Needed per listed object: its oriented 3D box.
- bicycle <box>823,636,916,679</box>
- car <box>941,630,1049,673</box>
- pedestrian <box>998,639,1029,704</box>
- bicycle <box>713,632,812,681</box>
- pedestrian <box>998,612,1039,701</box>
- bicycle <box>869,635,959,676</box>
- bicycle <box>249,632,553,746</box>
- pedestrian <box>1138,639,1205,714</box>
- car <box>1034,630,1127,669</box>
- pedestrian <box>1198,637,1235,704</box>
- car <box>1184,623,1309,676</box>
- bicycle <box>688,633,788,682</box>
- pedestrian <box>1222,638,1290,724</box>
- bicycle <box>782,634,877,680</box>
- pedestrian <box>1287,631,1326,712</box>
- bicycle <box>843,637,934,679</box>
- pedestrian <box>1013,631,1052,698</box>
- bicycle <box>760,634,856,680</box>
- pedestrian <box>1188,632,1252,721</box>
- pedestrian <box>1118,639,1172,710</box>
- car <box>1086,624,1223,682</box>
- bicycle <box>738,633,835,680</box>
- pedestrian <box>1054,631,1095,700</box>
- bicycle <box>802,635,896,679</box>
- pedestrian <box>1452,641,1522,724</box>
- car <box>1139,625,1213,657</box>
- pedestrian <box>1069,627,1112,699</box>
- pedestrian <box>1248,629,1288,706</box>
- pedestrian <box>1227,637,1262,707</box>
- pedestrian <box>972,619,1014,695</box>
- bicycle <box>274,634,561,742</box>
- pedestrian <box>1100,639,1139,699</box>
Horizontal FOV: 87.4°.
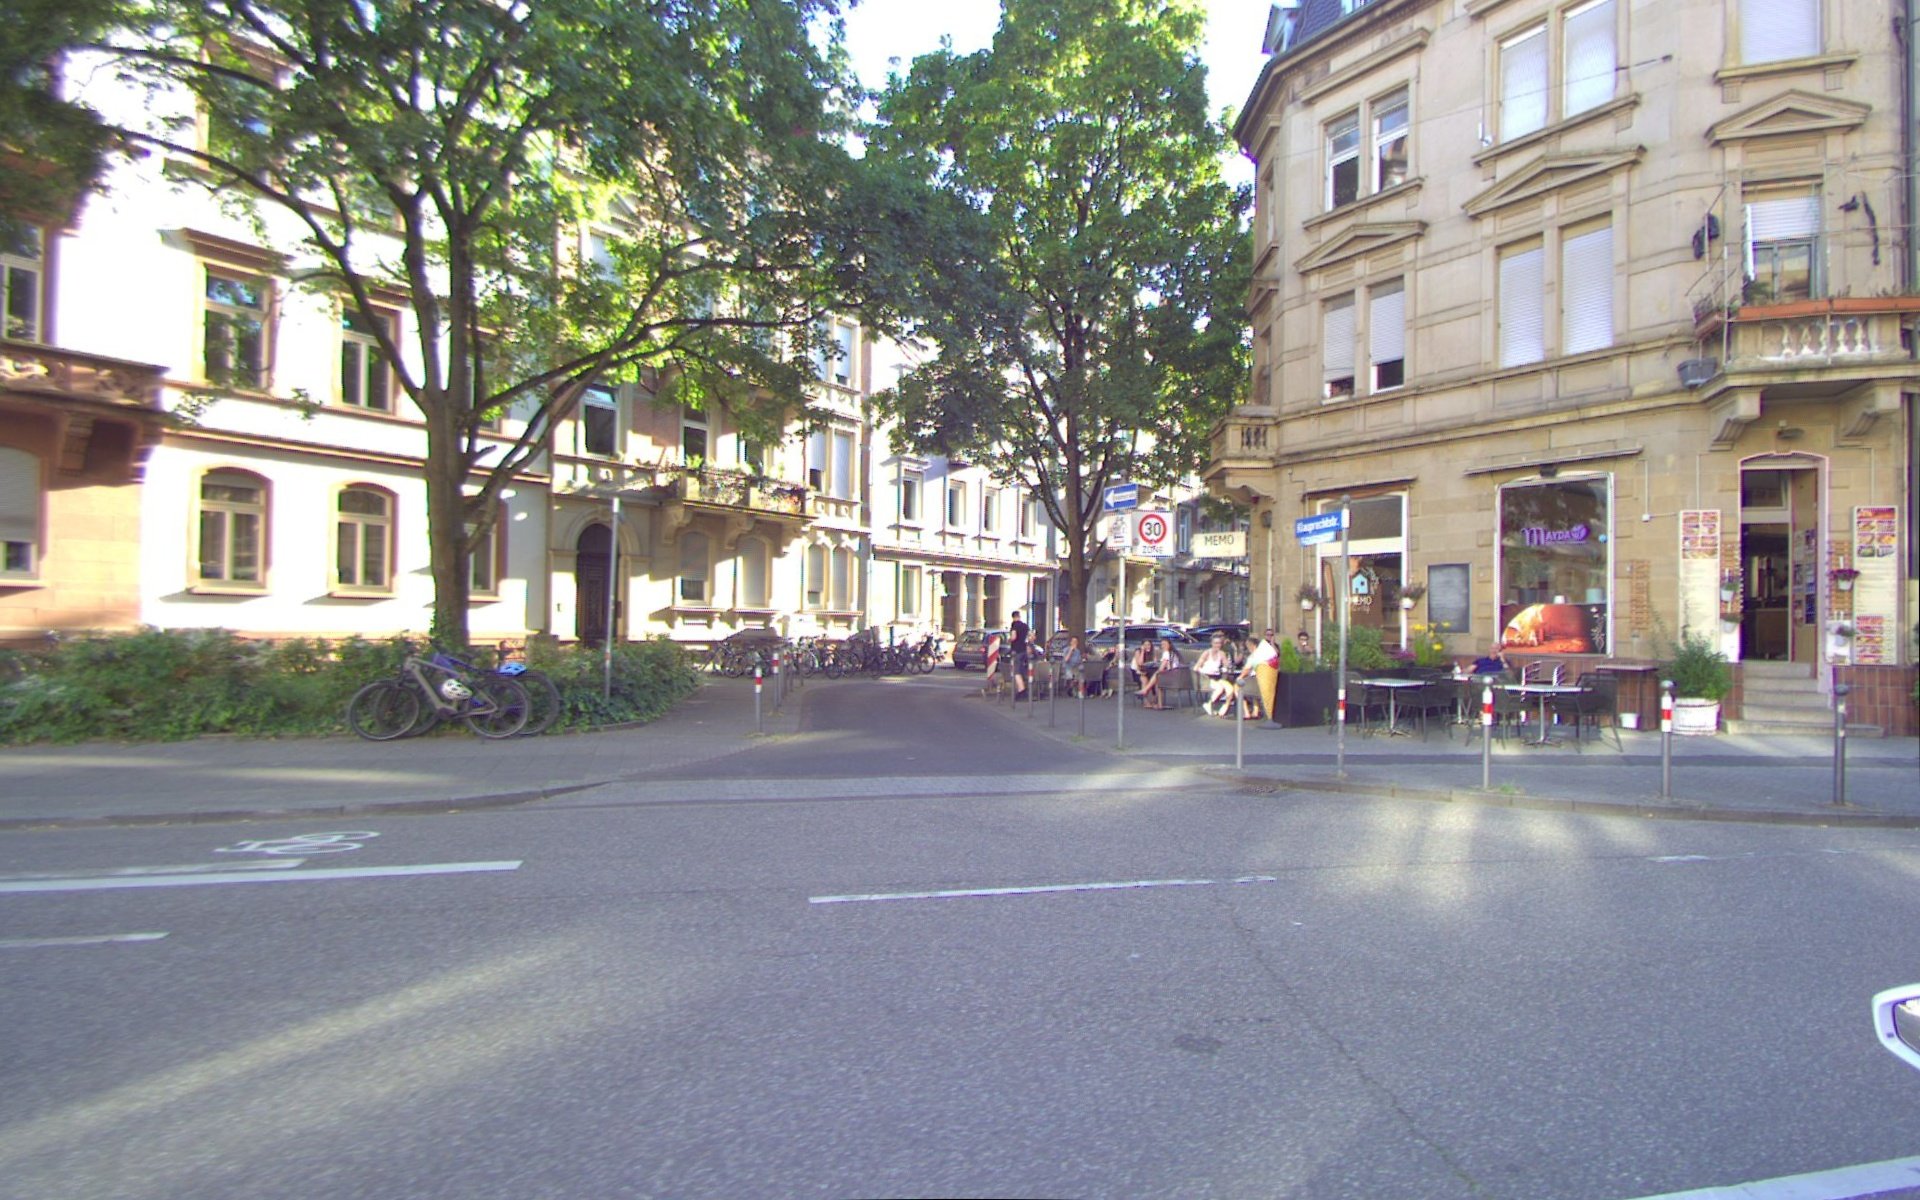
[{"bbox_3d":[-2.707,1.683,29.831,3.088,1.196,0.749,-1,-2,39],"label":"bicycle"},{"bbox_3d":[1.244,1.752,34.734,1.900,1.394,3.736,-1,-2,38],"label":"car"},{"bbox_3d":[1.119,1.490,21.114,0.561,1.338,0.504,0,-1,-7],"label":"pedestrian"},{"bbox_3d":[-5.276,1.468,26.628,3.088,1.196,0.749,-1,-2,39],"label":"bicycle"},{"bbox_3d":[1.195,1.149,20.481,0.752,1.793,0.572,0,-2,-5],"label":"pedestrian"},{"bbox_3d":[-1.460,1.704,31.371,3.088,1.196,0.749,-1,-2,39],"label":"bicycle"},{"bbox_3d":[-6.166,0.974,11.255,2.908,1.212,0.546,1,-1,-13],"label":"bicycle"},{"bbox_3d":[3.733,1.328,17.756,0.738,1.265,1.020,0,-1,-20],"label":"pedestrian"},{"bbox_3d":[4.674,1.872,38.676,1.900,1.394,3.736,-1,-2,38],"label":"car"},{"bbox_3d":[4.953,1.347,19.424,0.502,1.265,0.480,0,-1,-19],"label":"pedestrian"},{"bbox_3d":[9.594,1.639,33.914,3.919,1.706,2.001,0,-2,12],"label":"car"},{"bbox_3d":[-5.778,1.456,25.951,3.088,1.196,0.749,-1,-2,39],"label":"bicycle"},{"bbox_3d":[4.682,1.264,15.898,0.733,1.306,0.740,1,-2,-27],"label":"pedestrian"},{"bbox_3d":[-3.748,1.593,28.555,3.088,1.196,0.749,-1,-2,39],"label":"bicycle"},{"bbox_3d":[6.065,1.242,17.585,0.428,1.385,0.479,0,-1,-25],"label":"pedestrian"},{"bbox_3d":[-2.197,1.730,30.501,3.088,1.196,0.749,-1,-2,39],"label":"bicycle"},{"bbox_3d":[1.566,1.403,21.829,0.752,1.430,0.668,0,-2,-3],"label":"pedestrian"},{"bbox_3d":[-4.249,1.547,27.895,3.088,1.196,0.749,-1,-2,39],"label":"bicycle"},{"bbox_3d":[4.299,1.243,16.635,0.719,1.429,0.751,1,-2,-29],"label":"pedestrian"},{"bbox_3d":[3.426,1.358,18.609,0.737,1.265,0.704,0,-1,-19],"label":"pedestrian"},{"bbox_3d":[5.551,1.498,29.057,3.758,1.582,1.804,0,-2,7],"label":"car"},{"bbox_3d":[-4.741,1.506,27.283,3.088,1.196,0.749,-1,-2,39],"label":"bicycle"},{"bbox_3d":[2.485,1.415,21.816,0.752,1.460,0.668,0,-2,-5],"label":"pedestrian"},{"bbox_3d":[-3.263,1.637,29.201,3.088,1.196,0.749,-1,-2,39],"label":"bicycle"},{"bbox_3d":[8.148,1.248,15.537,0.749,1.230,0.720,2,-2,-36],"label":"pedestrian"},{"bbox_3d":[9.940,1.853,46.115,1.900,1.394,3.736,-1,-2,38],"label":"car"},{"bbox_3d":[2.704,1.305,20.811,0.752,1.460,0.668,0,-2,-5],"label":"pedestrian"},{"bbox_3d":[5.898,1.273,19.256,0.476,1.450,0.565,0,-1,-28],"label":"pedestrian"},{"bbox_3d":[5.258,1.324,18.583,0.427,1.265,0.480,0,-1,-19],"label":"pedestrian"},{"bbox_3d":[0.743,1.289,22.765,0.755,1.691,0.665,0,-3,-19],"label":"pedestrian"},{"bbox_3d":[-6.299,1.015,11.833,2.908,1.212,0.546,1,-1,-13],"label":"bicycle"},{"bbox_3d":[3.383,1.461,21.358,0.665,1.231,0.667,0,-2,-7],"label":"pedestrian"}]
